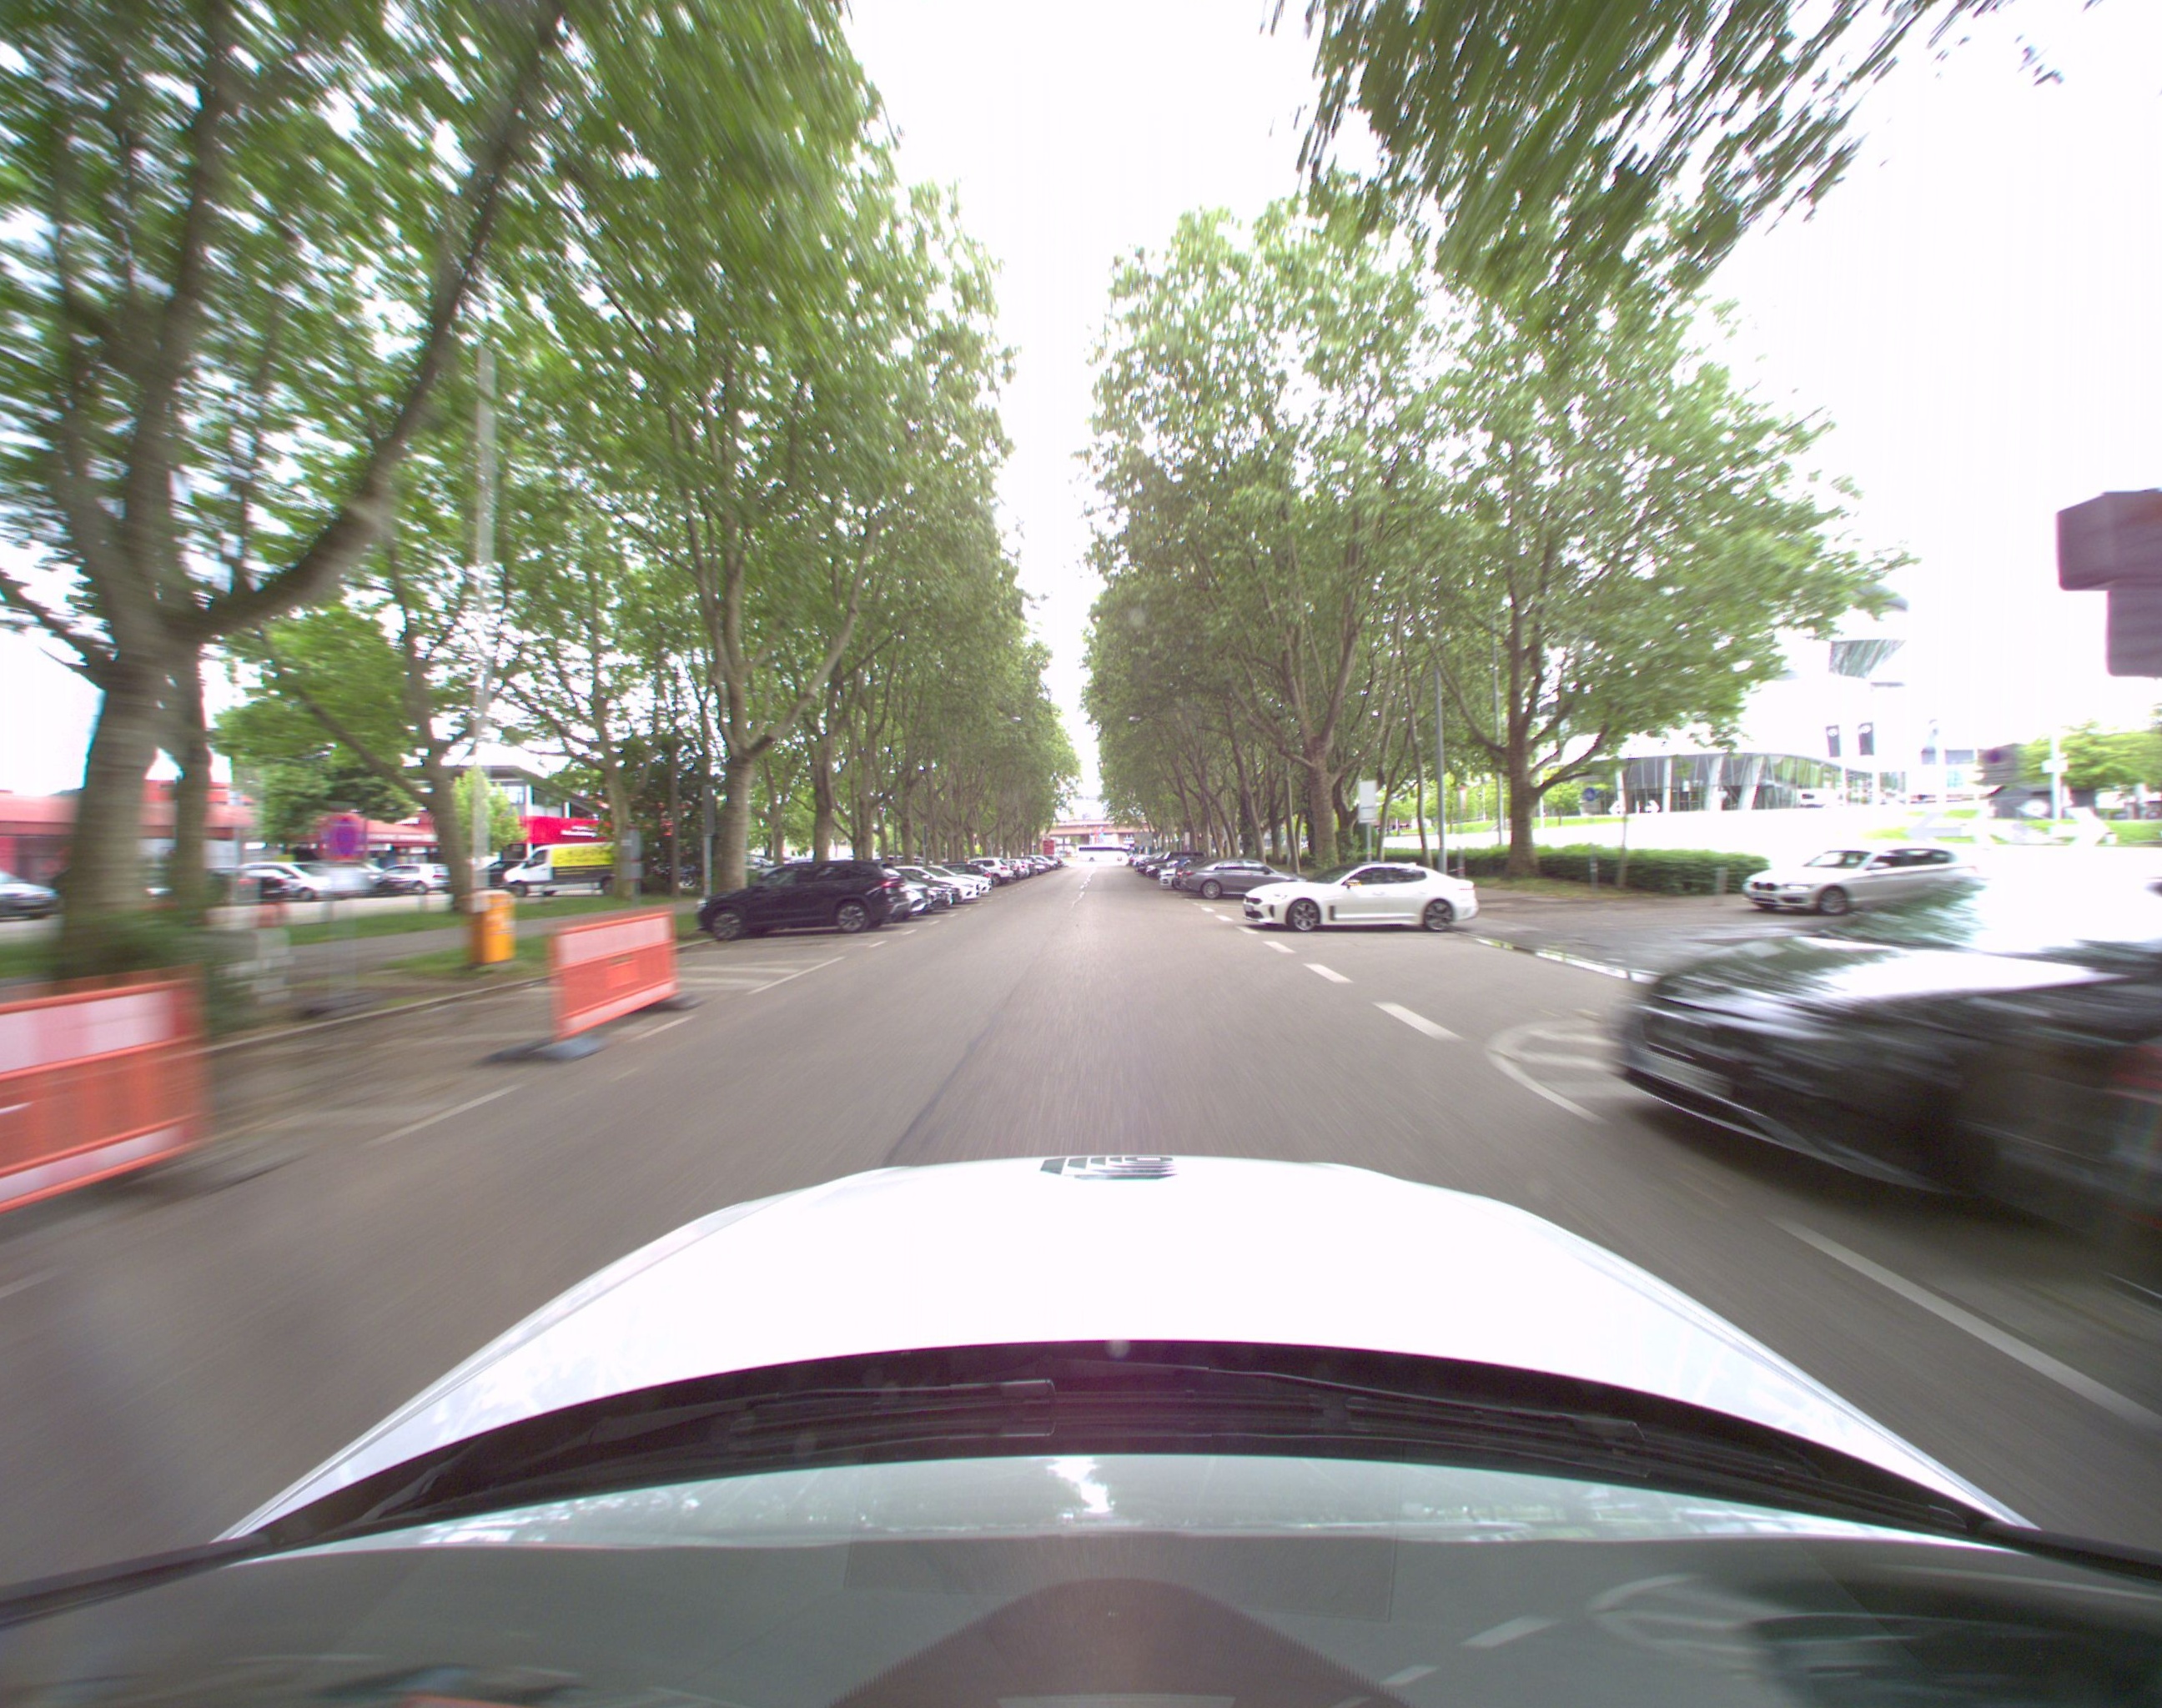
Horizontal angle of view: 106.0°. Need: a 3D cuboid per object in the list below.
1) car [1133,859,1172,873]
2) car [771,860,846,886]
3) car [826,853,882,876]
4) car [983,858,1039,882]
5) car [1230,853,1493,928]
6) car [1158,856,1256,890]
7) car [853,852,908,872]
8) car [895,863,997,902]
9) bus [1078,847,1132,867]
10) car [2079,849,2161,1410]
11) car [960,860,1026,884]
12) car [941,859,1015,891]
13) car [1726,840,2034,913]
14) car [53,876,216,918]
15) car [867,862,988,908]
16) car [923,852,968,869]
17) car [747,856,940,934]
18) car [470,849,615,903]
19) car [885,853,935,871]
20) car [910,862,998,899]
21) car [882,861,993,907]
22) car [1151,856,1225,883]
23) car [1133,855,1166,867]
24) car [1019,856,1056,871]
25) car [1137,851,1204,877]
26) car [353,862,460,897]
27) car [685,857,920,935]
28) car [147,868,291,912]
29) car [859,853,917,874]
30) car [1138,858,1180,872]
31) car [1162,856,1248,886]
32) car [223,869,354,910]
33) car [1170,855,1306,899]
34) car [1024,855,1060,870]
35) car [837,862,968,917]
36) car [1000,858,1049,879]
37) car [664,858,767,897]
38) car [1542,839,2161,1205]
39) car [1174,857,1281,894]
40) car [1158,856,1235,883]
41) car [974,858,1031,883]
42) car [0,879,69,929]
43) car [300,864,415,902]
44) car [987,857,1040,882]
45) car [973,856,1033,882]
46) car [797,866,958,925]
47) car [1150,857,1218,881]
[{"bbox_3d":[8.073,1.395,92.777,4.360,1.523,1.732,-1,0,2],"label":"car"},{"bbox_3d":[-21.097,1.454,63.178,5.054,2.014,2.178,0,0,4],"label":"car"},{"bbox_3d":[-20.336,0.891,73.081,4.331,2.014,2.178,0,0,4],"label":"car"},{"bbox_3d":[-5.254,1.187,61.326,3.794,1.515,1.689,-3,0,6],"label":"car"},{"bbox_3d":[5.862,0.753,17.273,4.931,1.402,1.994,2,0,-10],"label":"car"},{"bbox_3d":[5.474,0.812,35.742,4.154,1.442,1.734,-1,0,6],"label":"car"},{"bbox_3d":[-20.808,0.804,84.638,5.054,2.014,2.178,0,0,4],"label":"car"},{"bbox_3d":[-5.613,1.186,34.077,3.794,1.330,1.665,-3,0,6],"label":"car"},{"bbox_3d":[5.222,0.685,178.734,11.521,3.971,2.457,-2,-1,4],"label":"bus"},{"bbox_3d":[4.743,0.709,1.519,3.906,1.452,1.555,0,0,0],"label":"car"},{"bbox_3d":[-5.539,1.134,51.496,3.794,1.296,1.789,-3,0,6],"label":"car"},{"bbox_3d":[-5.837,1.181,46.353,3.794,1.602,1.789,-3,0,6],"label":"car"},{"bbox_3d":[17.563,0.480,18.095,4.916,1.402,1.999,-2,0,-1],"label":"car"},{"bbox_3d":[-32.751,1.465,28.254,3.744,1.349,1.535,0,0,-2],"label":"car"},{"bbox_3d":[-5.398,1.067,28.860,3.794,1.354,1.665,-3,0,6],"label":"car"},{"bbox_3d":[-16.508,0.829,99.415,5.054,2.014,2.178,0,0,4],"label":"car"},{"bbox_3d":[-6.147,1.036,21.447,4.458,1.677,1.762,-3,0,-1],"label":"car"},{"bbox_3d":[-22.646,0.912,34.348,5.062,2.232,1.535,0,0,-1],"label":"car"},{"bbox_3d":[-19.203,0.882,91.512,5.054,2.014,2.178,0,0,4],"label":"car"},{"bbox_3d":[-6.054,1.244,39.114,3.794,1.484,1.665,-3,0,6],"label":"car"},{"bbox_3d":[-5.472,1.126,31.303,3.795,1.484,1.665,-3,0,5],"label":"car"},{"bbox_3d":[6.191,0.887,47.448,4.037,1.468,1.730,-1,0,-2],"label":"car"},{"bbox_3d":[9.215,0.913,110.100,4.360,1.523,1.732,-1,0,2],"label":"car"},{"bbox_3d":[-4.756,1.007,88.786,3.796,1.515,1.688,-1,0,4],"label":"car"},{"bbox_3d":[6.116,0.692,56.007,4.364,1.751,1.730,-1,0,-2],"label":"car"},{"bbox_3d":[-32.151,1.204,38.865,3.963,1.590,1.698,0,0,9],"label":"car"},{"bbox_3d":[-6.282,0.922,18.813,4.650,1.427,1.999,-3,0,-1],"label":"car"},{"bbox_3d":[-32.683,1.350,30.950,3.744,1.590,1.535,0,0,-2],"label":"car"},{"bbox_3d":[-18.763,0.904,79.266,5.054,2.014,2.178,0,0,4],"label":"car"},{"bbox_3d":[8.476,1.187,88.806,4.364,1.523,1.730,-1,0,-2],"label":"car"},{"bbox_3d":[6.149,0.821,40.640,4.154,1.442,1.734,-1,0,6],"label":"car"},{"bbox_3d":[-32.342,1.417,33.301,3.744,1.590,1.535,0,0,-2],"label":"car"},{"bbox_3d":[5.428,0.787,28.634,4.551,1.486,2.003,-1,0,6],"label":"car"},{"bbox_3d":[-4.296,0.941,91.030,3.796,1.515,1.688,-1,0,4],"label":"car"},{"bbox_3d":[-5.725,1.130,26.409,3.802,1.484,1.661,-3,0,-1],"label":"car"},{"bbox_3d":[-4.804,1.207,69.285,3.794,1.515,1.689,-3,0,6],"label":"car"},{"bbox_3d":[-21.415,1.380,47.892,5.054,2.232,2.178,0,0,4],"label":"car"},{"bbox_3d":[5.257,0.698,4.249,4.644,1.452,1.926,1,0,0],"label":"car"},{"bbox_3d":[5.873,0.844,33.055,4.154,1.442,1.734,-1,0,6],"label":"car"},{"bbox_3d":[6.379,0.840,45.220,4.037,1.468,1.730,-1,0,-2],"label":"car"},{"bbox_3d":[-5.674,1.182,59.064,3.794,1.515,1.689,-3,0,6],"label":"car"},{"bbox_3d":[-32.328,1.433,23.706,3.743,1.349,1.535,0,0,-1],"label":"car"},{"bbox_3d":[-32.311,1.277,36.404,3.963,1.590,1.698,0,0,9],"label":"car"},{"bbox_3d":[-5.310,1.212,64.037,3.794,1.690,1.689,-3,0,6],"label":"car"},{"bbox_3d":[-5.414,1.044,56.681,3.794,1.515,1.689,-3,0,6],"label":"car"},{"bbox_3d":[-5.898,1.181,23.979,4.154,1.381,1.871,-3,0,-1],"label":"car"},{"bbox_3d":[6.429,0.920,50.984,4.037,1.468,1.730,-1,0,-2],"label":"car"}]
